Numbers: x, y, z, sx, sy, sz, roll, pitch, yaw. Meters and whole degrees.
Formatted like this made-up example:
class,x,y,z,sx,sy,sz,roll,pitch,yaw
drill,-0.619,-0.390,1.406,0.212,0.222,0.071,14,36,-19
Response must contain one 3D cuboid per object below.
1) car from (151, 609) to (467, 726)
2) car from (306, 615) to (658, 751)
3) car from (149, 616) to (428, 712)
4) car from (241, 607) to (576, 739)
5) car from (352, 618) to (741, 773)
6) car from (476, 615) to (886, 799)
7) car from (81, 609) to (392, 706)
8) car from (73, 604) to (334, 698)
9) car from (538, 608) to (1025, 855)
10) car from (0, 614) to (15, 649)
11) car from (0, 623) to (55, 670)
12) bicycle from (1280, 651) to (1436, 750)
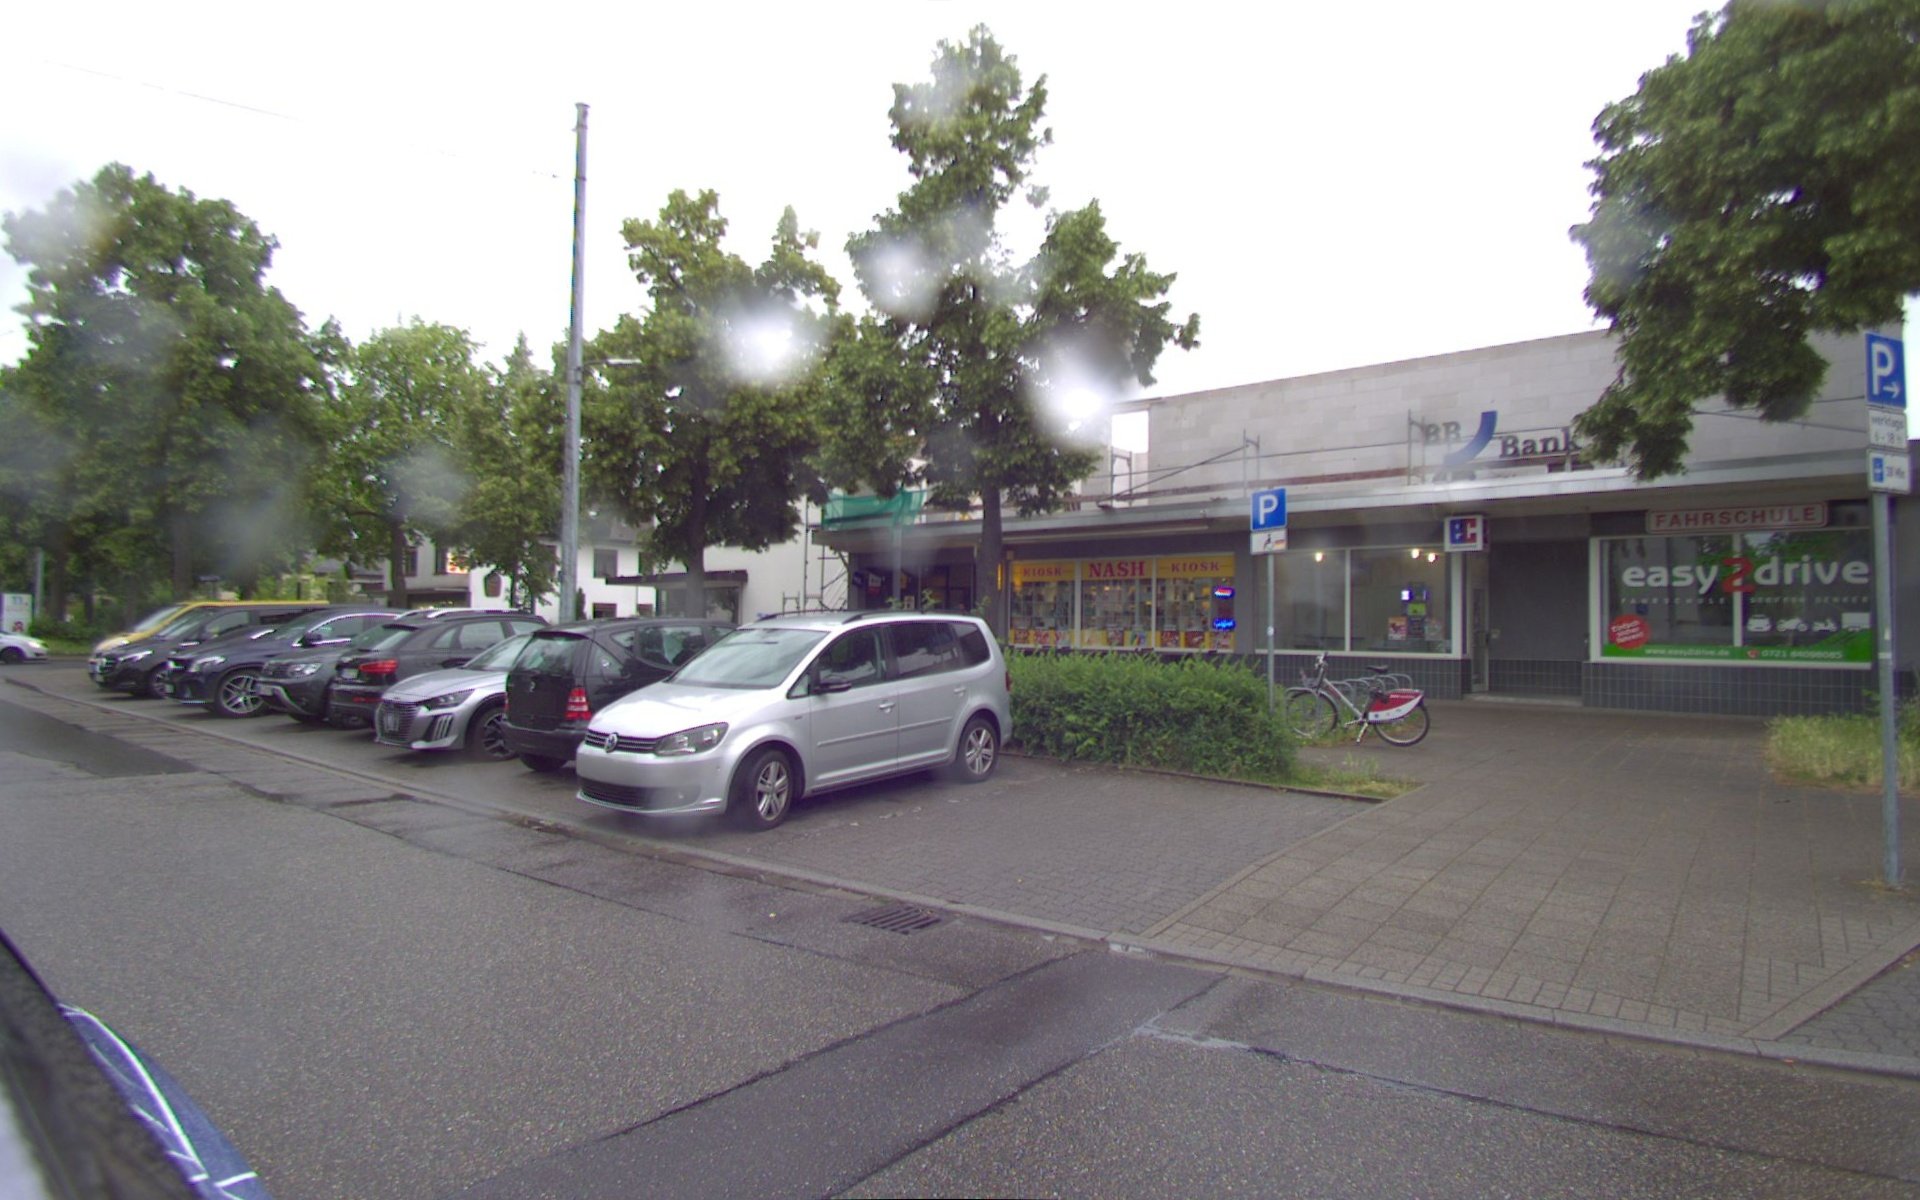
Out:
class,x,y,z,sx,sy,sz,roll,pitch,yaw
car,-10.955,1.023,17.299,1.713,1.740,4.231,-1,-1,38
car,-6.576,1.027,14.350,1.713,1.607,4.231,-1,-1,38
car,-12.949,1.141,19.753,1.713,1.639,4.231,-1,-1,38
car,-8.328,0.985,15.637,1.713,1.740,4.231,-1,-1,38
car,-4.934,1.018,12.612,1.713,1.544,4.231,-1,-1,38
car,-2.839,0.979,11.149,1.633,1.577,4.231,-1,0,38
car,-15.127,1.100,21.492,1.713,1.813,5.114,-1,-1,38
car,-17.439,1.091,23.558,1.713,1.973,4.600,-1,-1,38
car,-1.312,0.904,8.993,1.713,1.647,4.231,-1,-1,38
car,-49.754,1.605,50.185,1.997,1.698,3.950,-1,0,37
car,-32.233,1.545,32.895,4.192,1.465,2.003,-1,0,-42
bicycle,4.839,1.202,12.358,1.739,1.115,0.316,-1,0,25
